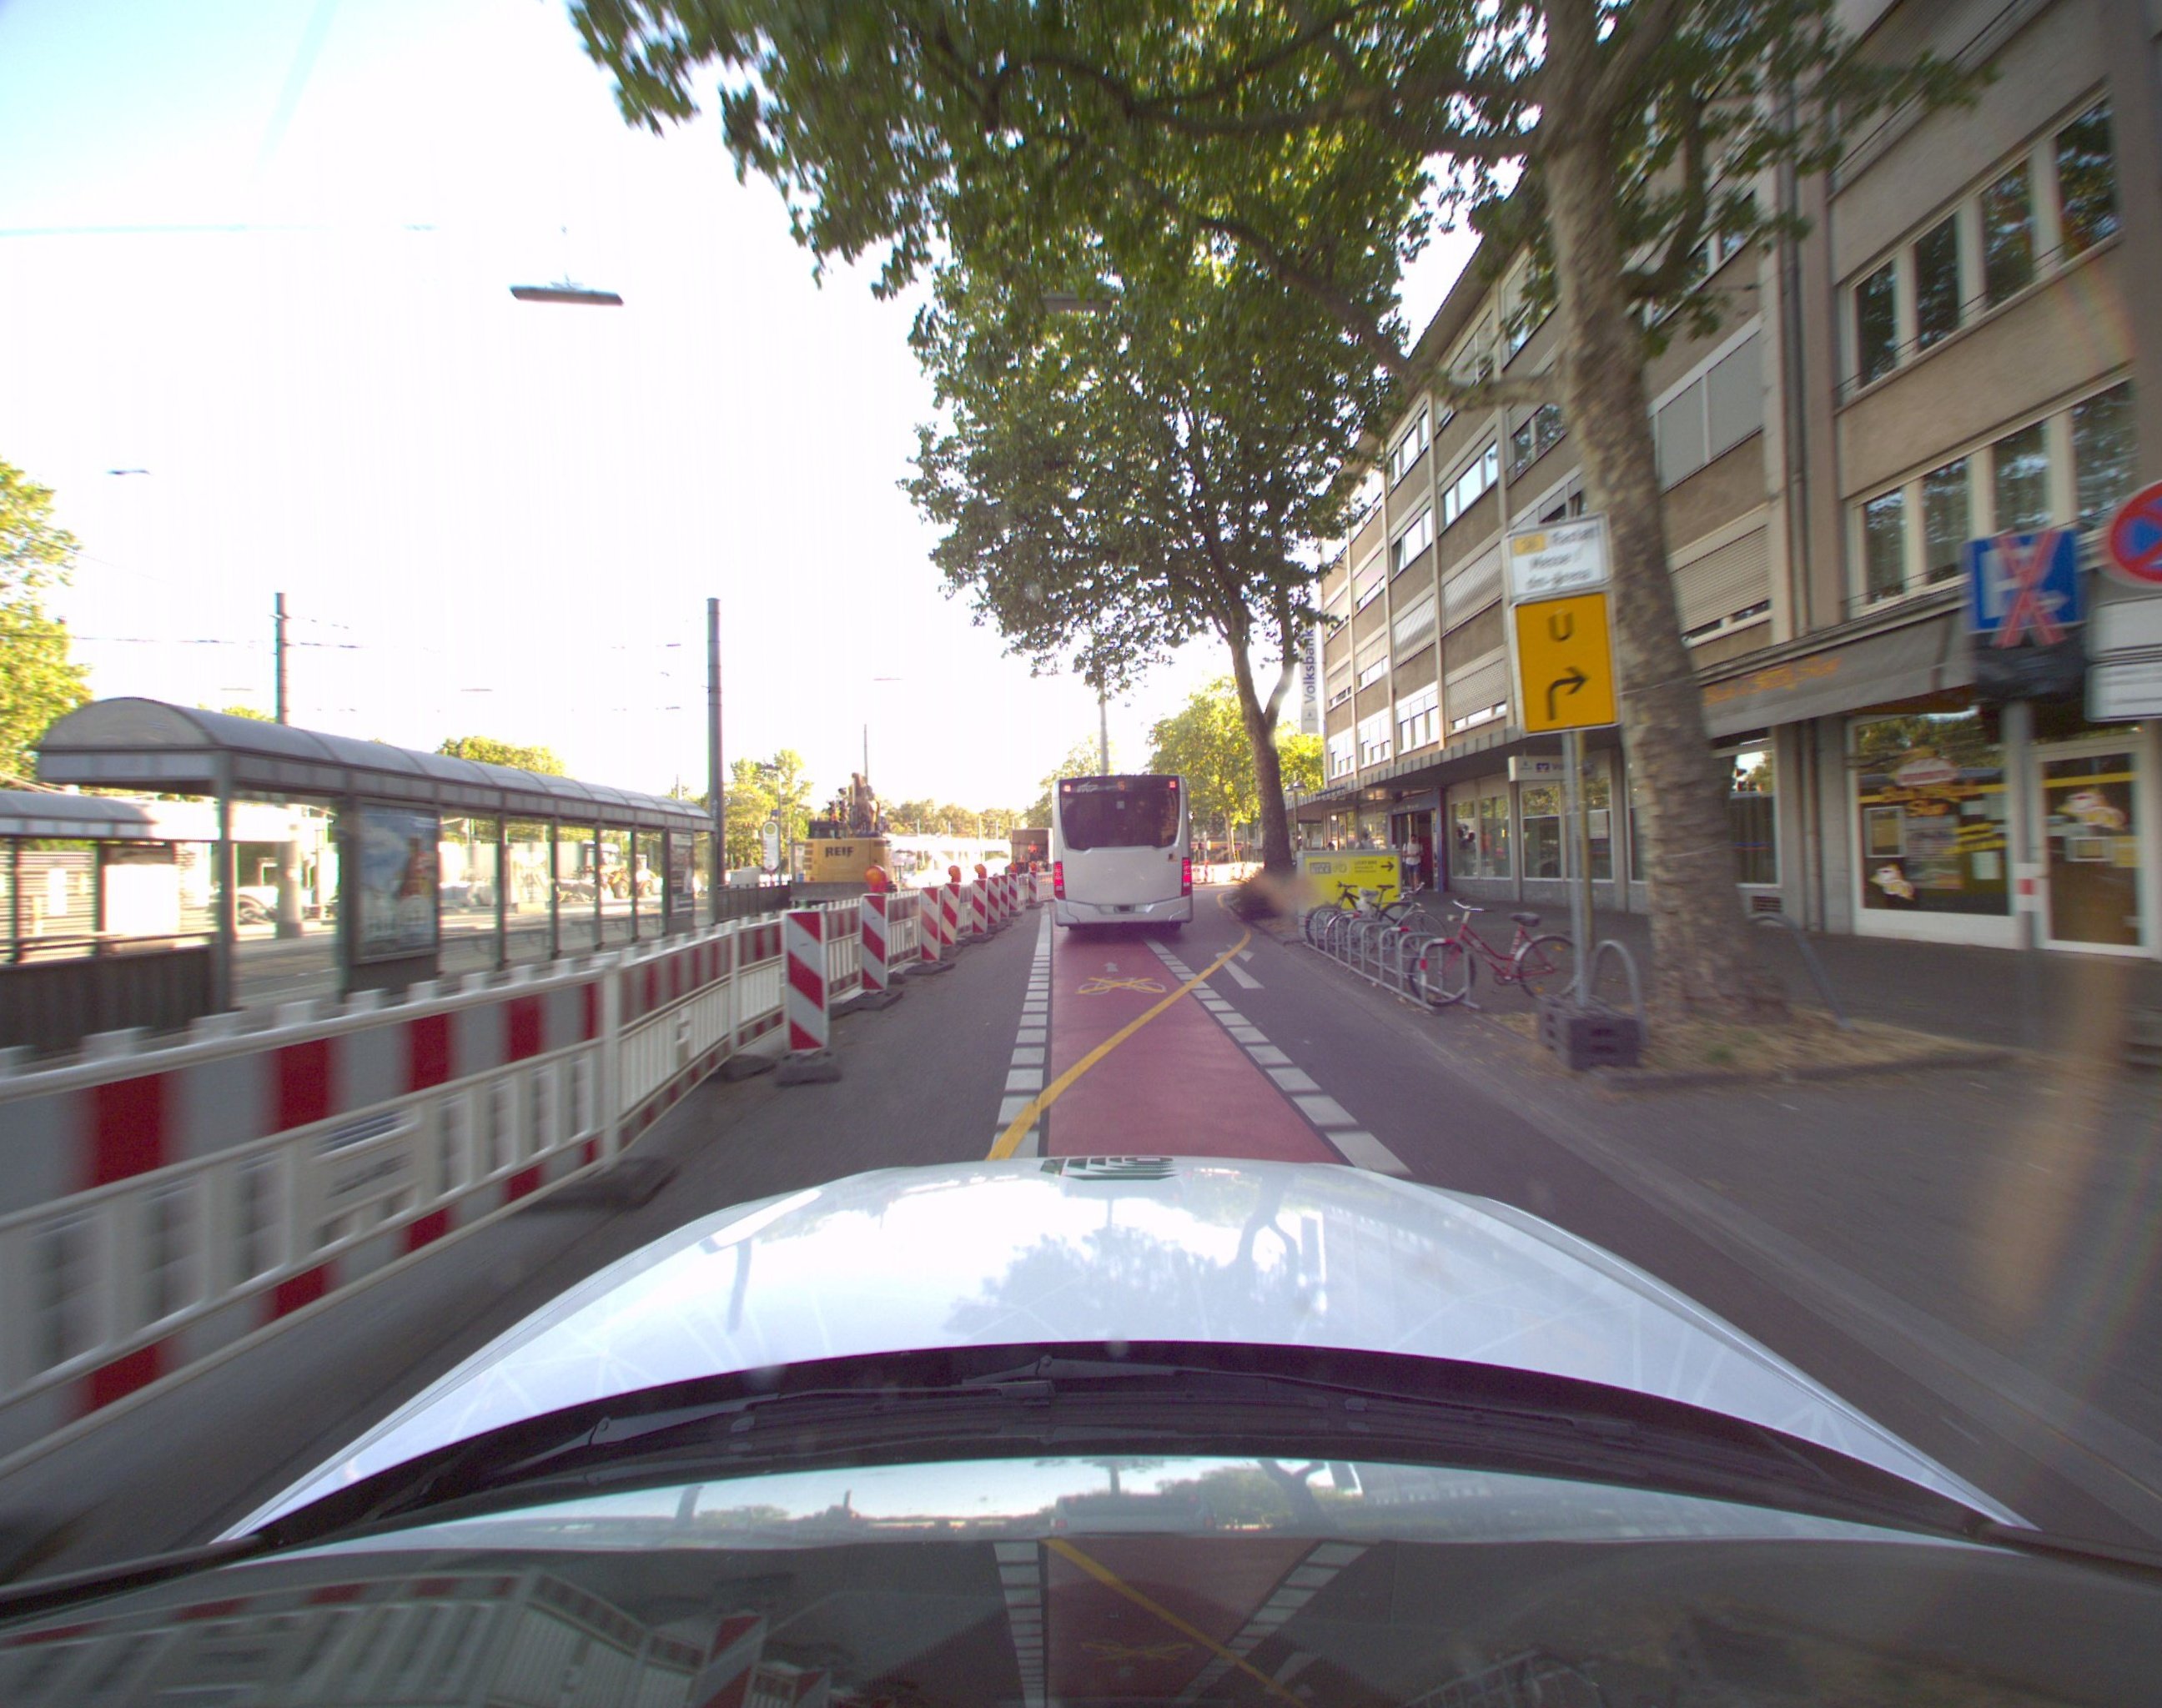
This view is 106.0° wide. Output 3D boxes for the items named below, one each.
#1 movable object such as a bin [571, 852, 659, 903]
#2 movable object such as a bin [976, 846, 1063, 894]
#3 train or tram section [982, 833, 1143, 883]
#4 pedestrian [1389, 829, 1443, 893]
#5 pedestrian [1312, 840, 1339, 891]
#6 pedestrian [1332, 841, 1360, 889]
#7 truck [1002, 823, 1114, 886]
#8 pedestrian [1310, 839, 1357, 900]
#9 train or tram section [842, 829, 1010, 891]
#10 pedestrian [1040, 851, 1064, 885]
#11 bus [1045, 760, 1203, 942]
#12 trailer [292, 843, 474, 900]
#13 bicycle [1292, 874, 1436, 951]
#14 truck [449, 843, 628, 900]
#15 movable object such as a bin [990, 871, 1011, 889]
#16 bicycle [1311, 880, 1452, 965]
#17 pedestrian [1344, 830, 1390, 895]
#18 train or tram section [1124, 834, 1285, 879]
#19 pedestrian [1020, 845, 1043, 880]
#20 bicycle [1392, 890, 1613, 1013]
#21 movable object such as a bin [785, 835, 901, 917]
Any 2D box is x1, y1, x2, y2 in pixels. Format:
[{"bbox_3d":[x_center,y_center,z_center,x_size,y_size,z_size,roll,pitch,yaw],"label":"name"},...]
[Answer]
[{"bbox_3d":[-26.097,1.279,45.842,2.143,2.639,4.601,-2,-1,2],"label":"movable object such as a bin"},{"bbox_3d":[-2.985,0.729,40.873,1.975,2.256,5.239,0,0,27],"label":"movable object such as a bin"},{"bbox_3d":[-1.174,0.309,62.295,12.832,3.549,2.709,0,-2,-33],"label":"train or tram section"},{"bbox_3d":[9.437,0.196,23.002,0.896,1.697,1.070,-7,-1,0],"label":"pedestrian"},{"bbox_3d":[8.458,0.399,28.199,0.581,1.708,0.679,-4,-1,0],"label":"pedestrian"},{"bbox_3d":[9.187,0.373,28.259,0.631,1.573,0.774,-4,0,0],"label":"pedestrian"},{"bbox_3d":[-1.200,0.047,50.338,2.786,3.541,9.037,-2,-1,27],"label":"truck"},{"bbox_3d":[7.427,0.450,24.008,0.896,1.710,1.070,-5,-1,0],"label":"pedestrian"},{"bbox_3d":[-9.605,0.416,53.265,2.822,3.533,13.477,-2,-1,29],"label":"train or tram section"},{"bbox_3d":[-1.540,0.751,43.754,0.965,1.798,1.074,-1,-1,17],"label":"pedestrian"},{"bbox_3d":[0.992,-0.025,19.598,2.722,3.139,10.710,-1,0,3],"label":"bus"},{"bbox_3d":[-48.685,1.237,57.134,9.225,3.798,2.883,1,-2,-13],"label":"trailer"},{"bbox_3d":[4.445,0.903,12.877,1.982,1.058,0.770,-3,-1,-3],"label":"bicycle"},{"bbox_3d":[-39.277,1.243,59.350,10.411,3.790,2.887,-1,-1,-13],"label":"truck"},{"bbox_3d":[-4.451,1.445,45.104,0.929,0.917,1.420,-1,-1,2],"label":"movable object such as a bin"},{"bbox_3d":[4.202,0.945,11.472,1.707,1.058,0.644,-3,-1,1],"label":"bicycle"},{"bbox_3d":[8.738,0.253,24.883,0.835,1.869,1.099,-6,-1,0],"label":"pedestrian"},{"bbox_3d":[10.300,0.187,67.605,13.321,3.519,2.634,-1,-1,-17],"label":"train or tram section"},{"bbox_3d":[-2.850,0.480,47.004,0.928,2.013,1.007,-1,1,25],"label":"pedestrian"},{"bbox_3d":[4.046,0.917,7.891,1.785,1.022,0.643,-3,-1,-3],"label":"bicycle"},{"bbox_3d":[-7.353,0.644,25.806,2.639,2.318,4.892,-1,0,-6],"label":"movable object such as a bin"}]
